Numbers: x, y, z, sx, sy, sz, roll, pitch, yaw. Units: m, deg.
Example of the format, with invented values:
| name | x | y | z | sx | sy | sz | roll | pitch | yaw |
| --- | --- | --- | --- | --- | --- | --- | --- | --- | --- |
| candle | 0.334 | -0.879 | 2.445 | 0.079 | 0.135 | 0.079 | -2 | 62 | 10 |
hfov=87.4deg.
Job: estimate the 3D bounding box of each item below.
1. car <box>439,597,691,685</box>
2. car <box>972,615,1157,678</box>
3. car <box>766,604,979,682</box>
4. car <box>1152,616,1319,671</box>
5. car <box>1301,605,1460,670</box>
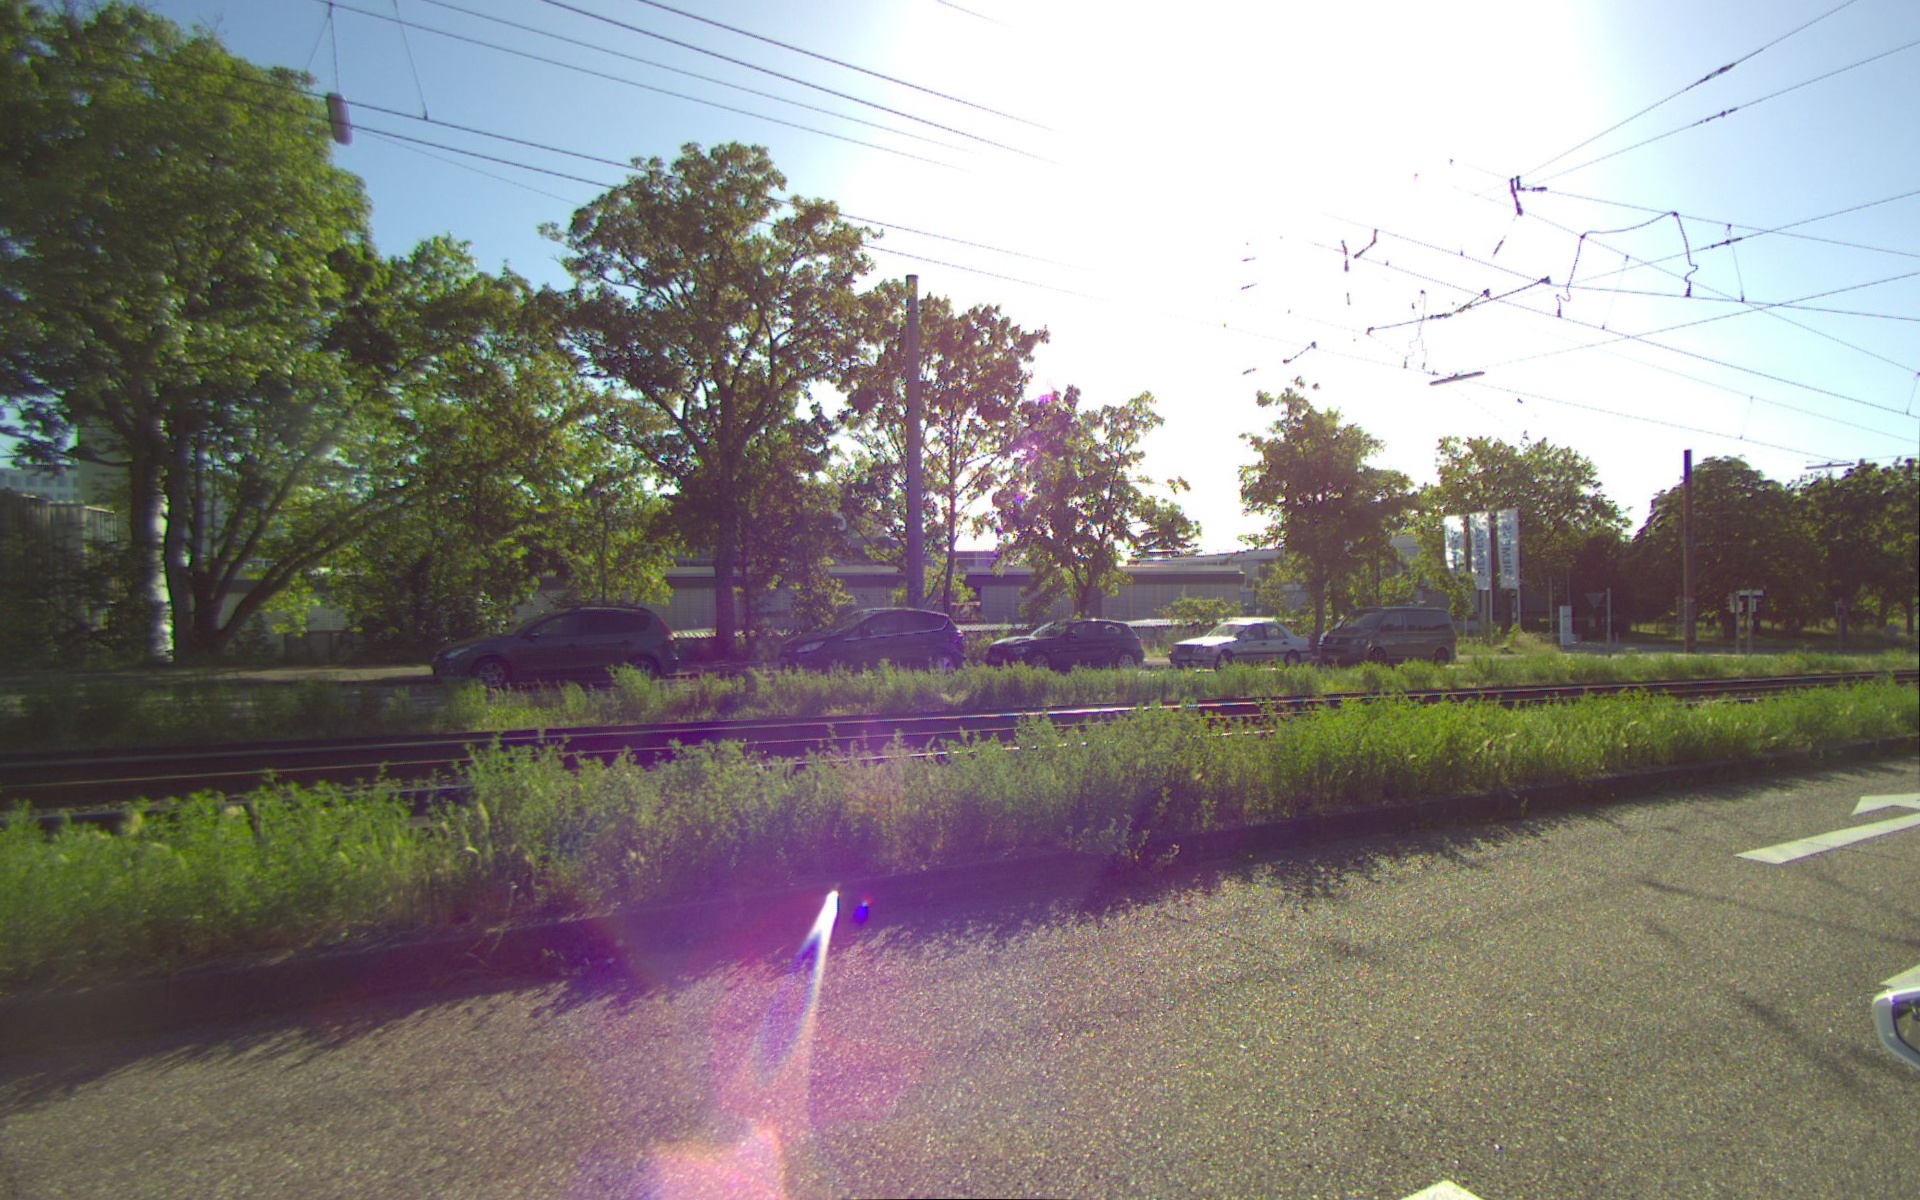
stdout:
| name | x | y | z | sx | sy | sz | roll | pitch | yaw |
| --- | --- | --- | --- | --- | --- | --- | --- | --- | --- |
| car | -7.573 | 0.759 | 19.393 | 4.280 | 1.514 | 1.725 | 1 | 1 | -32 |
| car | 2.676 | 1.123 | 25.535 | 4.362 | 1.457 | 1.984 | 1 | 0 | -30 |
| car | -1.945 | 0.904 | 22.671 | 4.385 | 1.595 | 1.983 | 1 | 0 | -32 |
| car | 7.910 | 1.197 | 28.749 | 4.639 | 1.457 | 1.919 | 1 | 0 | -30 |
| car | 13.369 | 1.142 | 31.885 | 4.731 | 1.916 | 2.188 | 1 | 0 | -28 |
